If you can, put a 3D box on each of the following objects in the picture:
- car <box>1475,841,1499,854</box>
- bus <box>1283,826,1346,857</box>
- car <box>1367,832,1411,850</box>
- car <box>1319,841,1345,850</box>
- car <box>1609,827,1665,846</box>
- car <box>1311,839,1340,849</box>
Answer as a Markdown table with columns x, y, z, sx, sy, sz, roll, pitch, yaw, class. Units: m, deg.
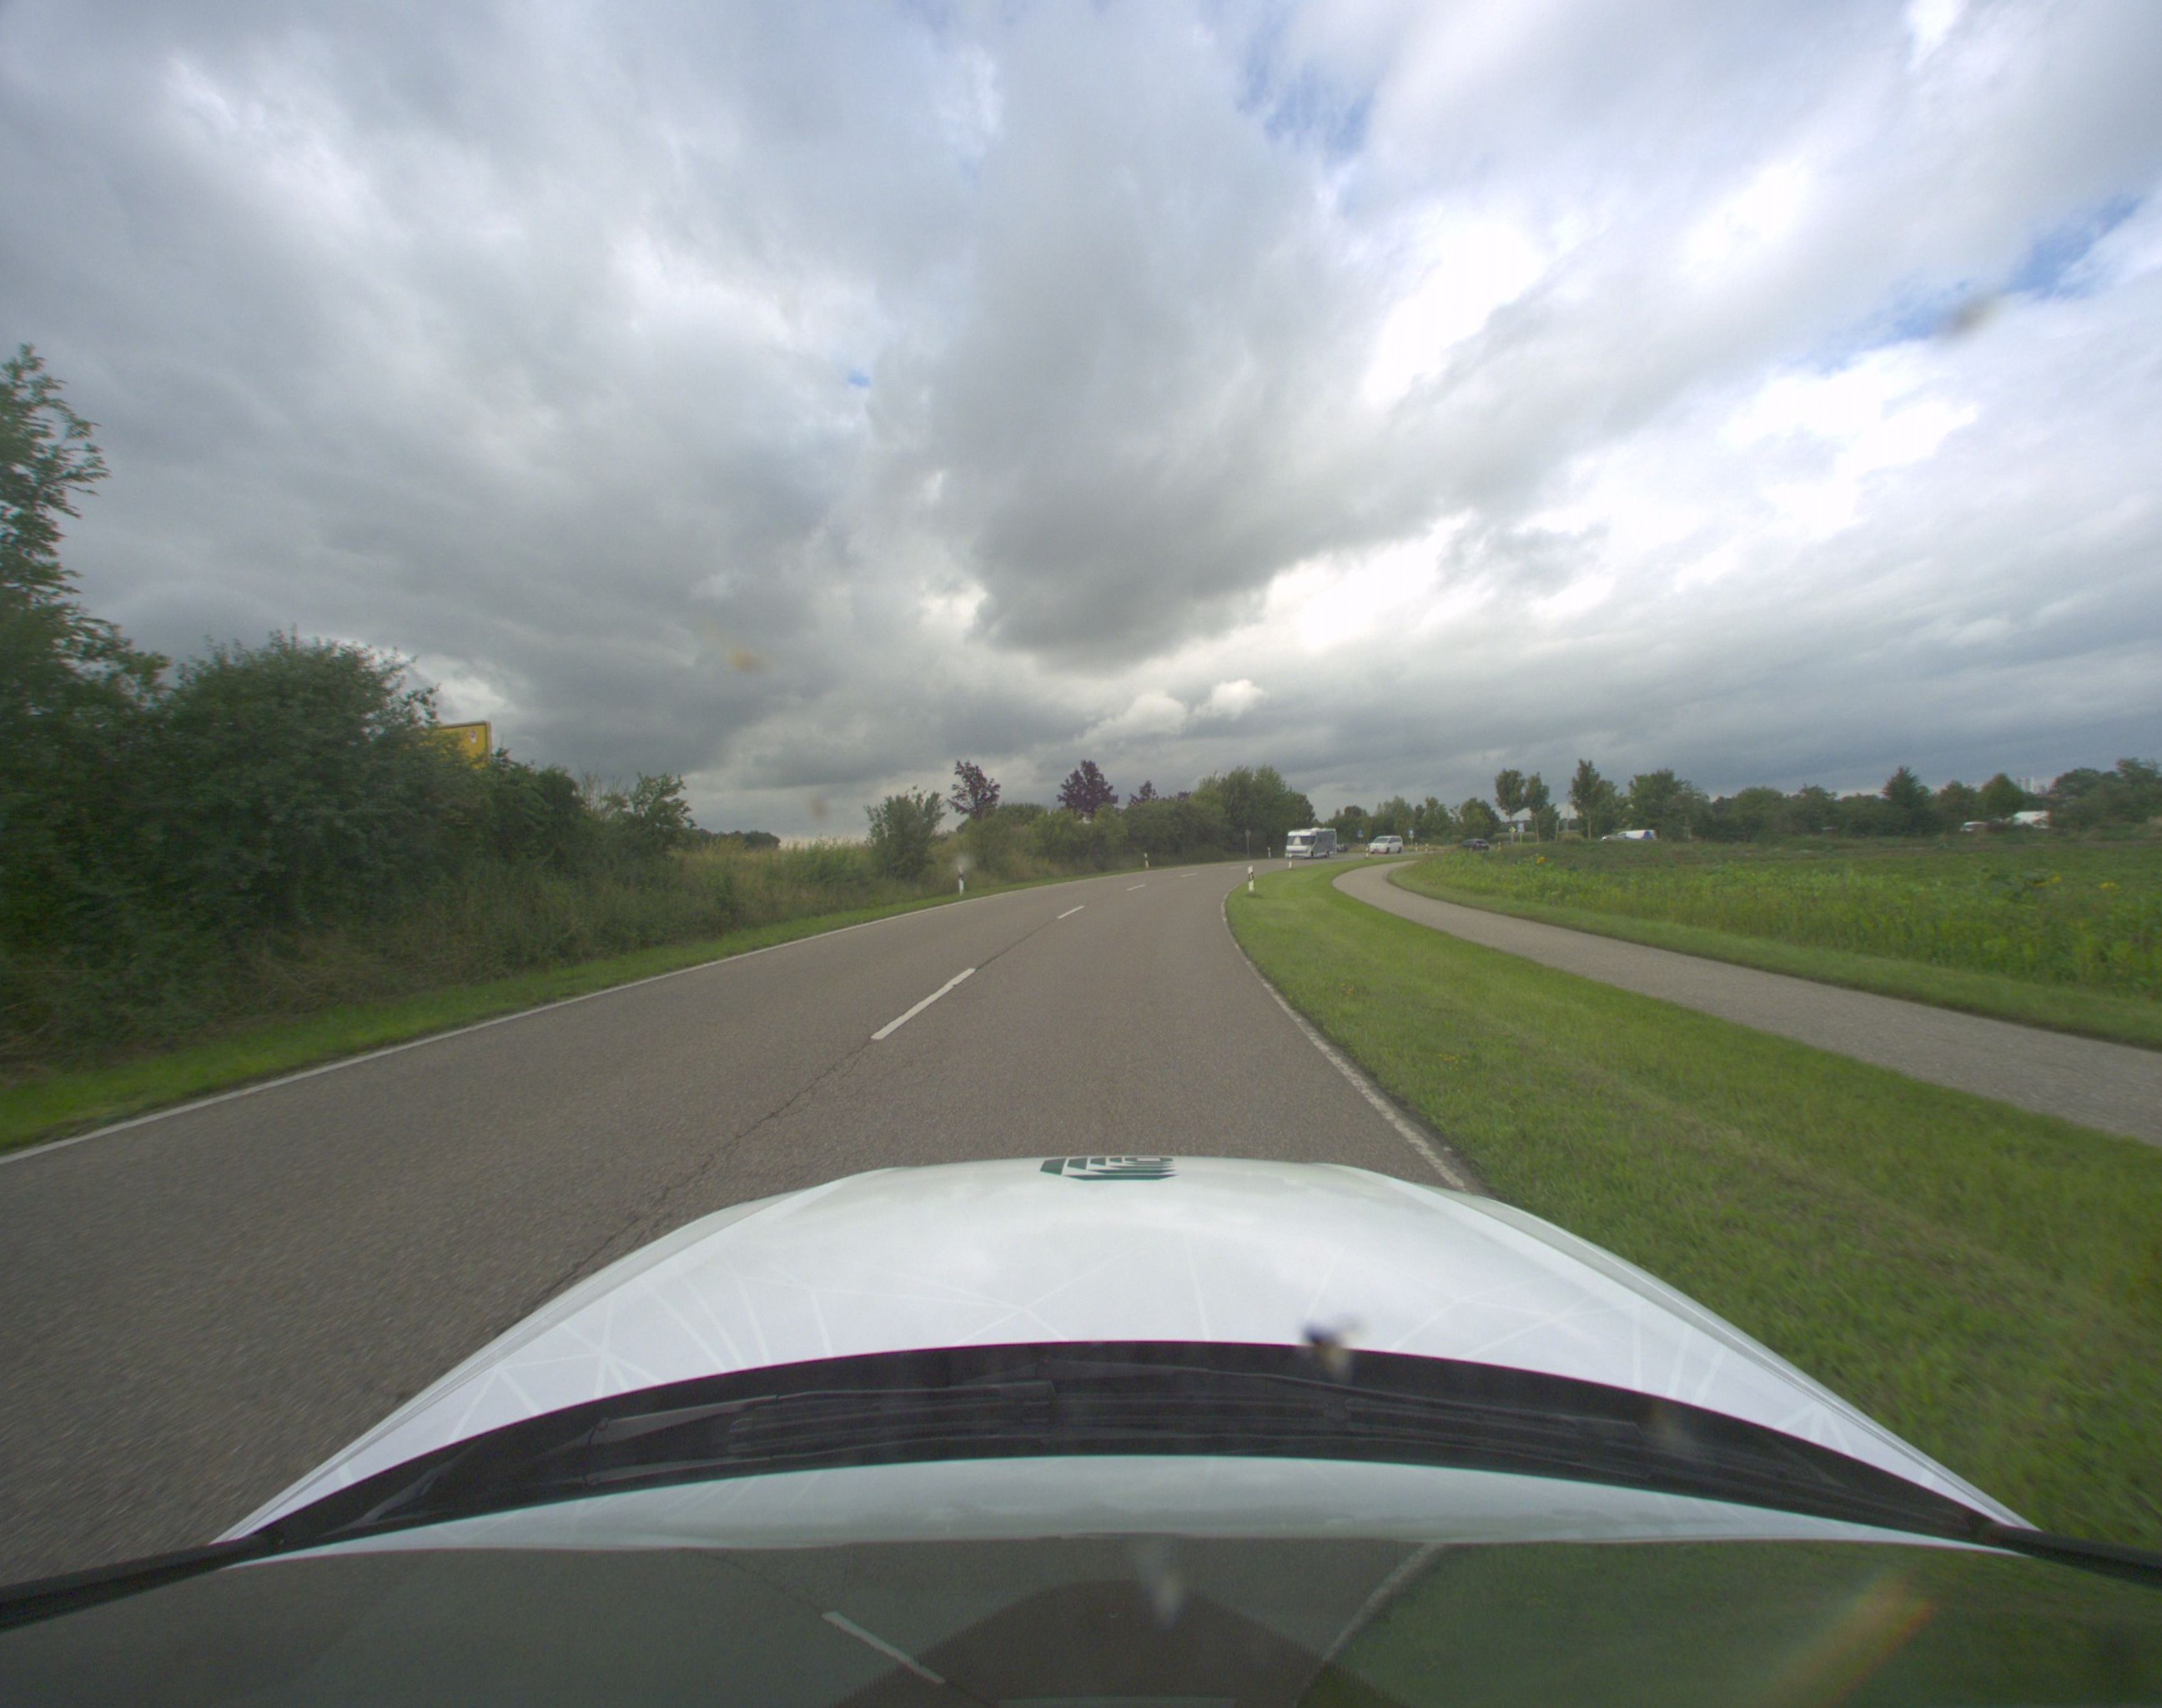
| x | y | z | sx | sy | sz | roll | pitch | yaw | class |
| --- | --- | --- | --- | --- | --- | --- | --- | --- | --- |
| 44.944 | -0.703 | 90.153 | 1.826 | 1.417 | 4.020 | -1 | 0 | 19 | car |
| 21.783 | -1.174 | 75.648 | 2.451 | 2.711 | 8.484 | -1 | 0 | 39 | bus |
| 33.969 | -1.481 | 89.734 | 5.212 | 1.868 | 2.096 | -2 | 0 | -39 | car |
| 41.443 | -1.328 | 134.338 | 3.951 | 1.380 | 1.484 | -1 | 0 | 24 | car |
| 62.671 | -1.947 | 91.874 | 1.966 | 1.974 | 4.902 | -2 | 0 | -42 | car |
| 39.130 | -1.571 | 130.447 | 3.948 | 1.380 | 1.836 | -1 | 0 | 37 | car |
